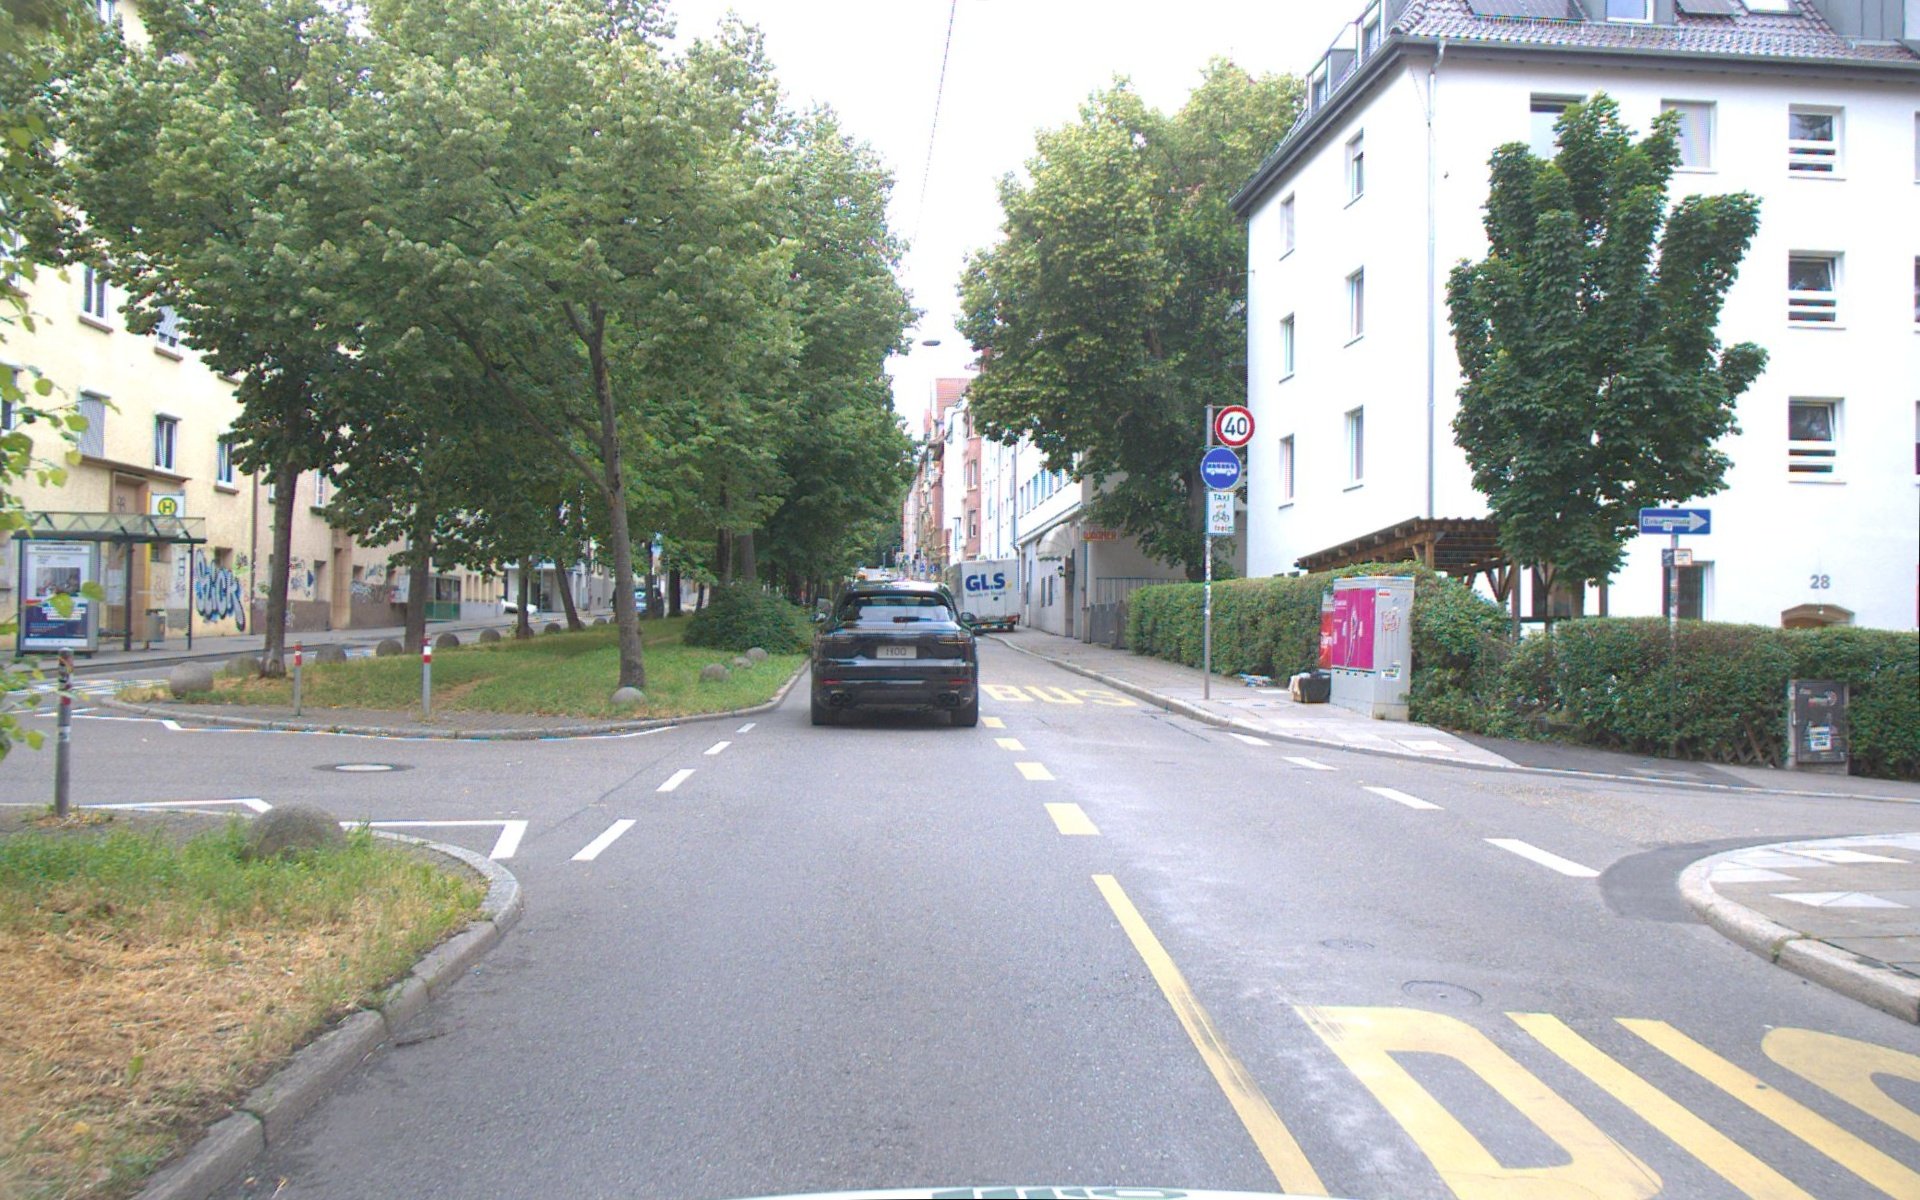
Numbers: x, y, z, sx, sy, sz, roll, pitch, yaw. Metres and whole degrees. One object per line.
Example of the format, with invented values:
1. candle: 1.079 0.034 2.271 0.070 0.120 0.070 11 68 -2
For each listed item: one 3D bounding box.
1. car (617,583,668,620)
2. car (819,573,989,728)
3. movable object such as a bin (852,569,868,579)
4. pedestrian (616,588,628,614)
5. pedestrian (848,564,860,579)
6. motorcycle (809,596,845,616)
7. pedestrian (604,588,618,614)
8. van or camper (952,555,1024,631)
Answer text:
1. car: -16.225 0.052 84.673 1.911 1.656 4.361 -6 0 -4
2. car: -0.780 0.557 20.281 1.866 1.695 4.131 1 0 -5
3. movable object such as a bin: -13.242 -3.460 220.080 1.815 1.296 1.233 1 0 44
4. pedestrian: -21.505 0.070 105.307 0.649 1.644 0.579 1 0 -2
5. pedestrian: -14.129 -3.835 221.086 1.295 2.049 1.004 1 0 -43
6. motorcycle: -8.528 0.401 106.200 2.309 1.257 1.032 1 1 -5
7. pedestrian: -21.793 0.051 103.360 0.621 1.641 0.764 1 0 2
8. van or camper: 1.051 -0.281 66.612 2.430 2.852 7.234 1 0 -3
